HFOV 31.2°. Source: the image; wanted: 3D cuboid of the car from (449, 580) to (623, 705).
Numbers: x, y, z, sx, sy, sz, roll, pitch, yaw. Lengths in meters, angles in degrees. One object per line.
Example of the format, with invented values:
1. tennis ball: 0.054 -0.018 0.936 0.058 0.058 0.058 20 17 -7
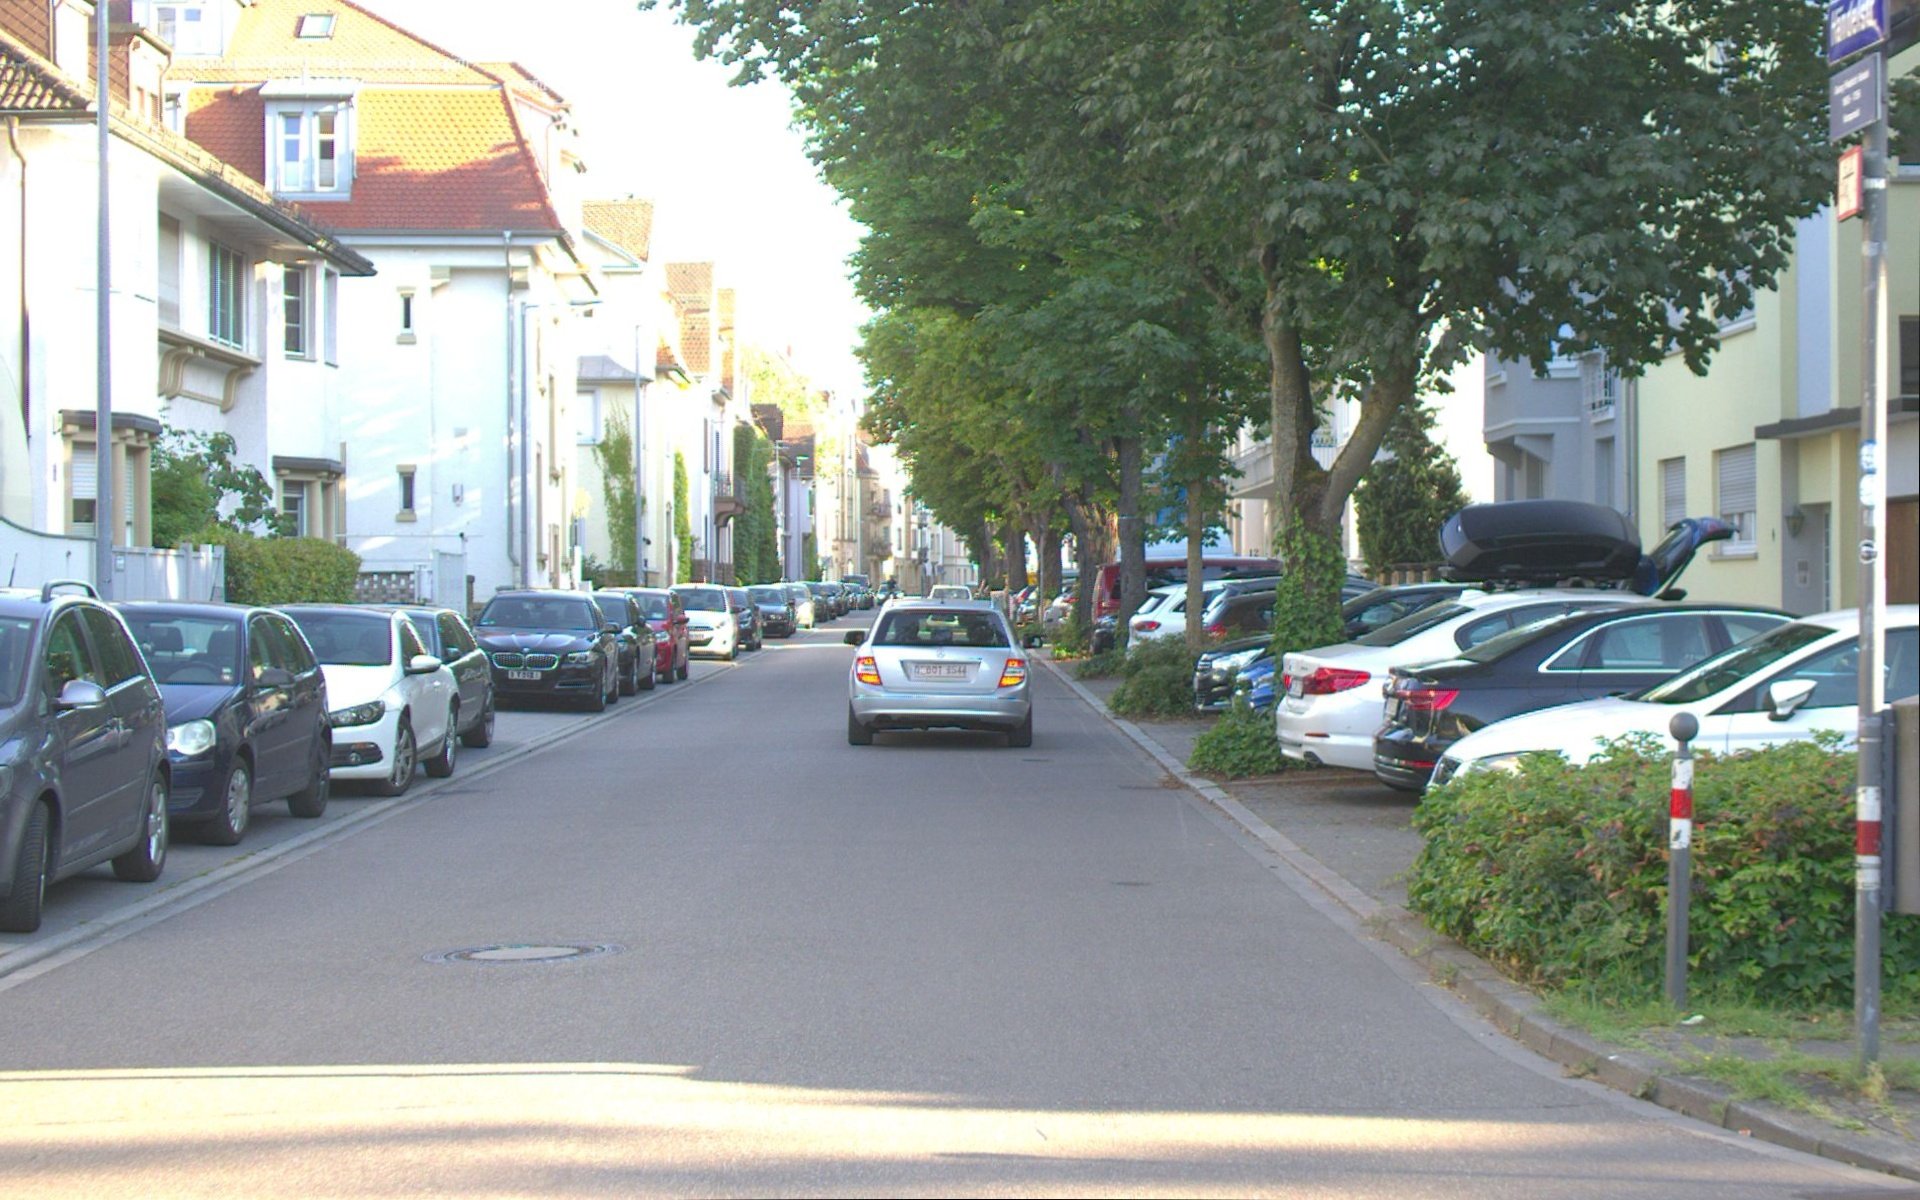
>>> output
1. car: -5.324 0.515 43.622 1.854 1.492 4.655 1 0 -3

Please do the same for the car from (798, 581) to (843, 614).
1. car: -6.043 -0.111 148.983 1.799 1.382 3.606 1 1 0

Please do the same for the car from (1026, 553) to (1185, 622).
1. car: 4.237 -0.376 100.753 4.518 2.007 2.251 0 1 -2

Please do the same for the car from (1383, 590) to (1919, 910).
1. car: 4.291 0.705 17.329 4.048 1.500 1.862 0 0 -1

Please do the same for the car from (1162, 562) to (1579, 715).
1. car: 4.330 0.402 36.708 4.190 1.553 1.874 0 0 -1

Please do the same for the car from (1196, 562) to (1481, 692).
1. car: 4.975 0.349 45.493 3.547 1.648 1.725 0 0 -1

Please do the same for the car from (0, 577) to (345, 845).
1. car: -5.225 0.653 22.369 1.884 1.585 4.091 0 0 -3

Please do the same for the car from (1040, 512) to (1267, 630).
1. car: 4.901 -0.737 87.626 5.541 2.958 2.472 0 0 -2

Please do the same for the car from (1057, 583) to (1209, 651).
1. car: 4.252 0.410 84.787 3.594 1.654 1.650 0 1 -2

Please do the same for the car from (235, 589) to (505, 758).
1. car: -5.368 0.639 31.770 1.758 1.442 4.142 1 0 0

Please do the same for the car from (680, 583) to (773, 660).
1. car: -5.150 0.503 76.168 1.799 1.639 3.857 1 -1 0

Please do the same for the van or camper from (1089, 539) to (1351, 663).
1. van or camper: 4.353 0.001 57.969 4.313 2.007 2.000 1 0 3

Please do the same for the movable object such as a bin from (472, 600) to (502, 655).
1. movable object such as a bin: -9.521 0.551 69.229 0.527 1.104 0.589 1 -1 0

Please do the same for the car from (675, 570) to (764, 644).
1. car: -5.547 0.146 79.709 1.799 1.639 3.857 1 1 0

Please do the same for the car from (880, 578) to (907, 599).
1. car: -4.589 -0.802 238.471 1.799 1.382 3.606 1 1 0

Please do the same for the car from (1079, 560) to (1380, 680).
1. car: 4.262 0.300 54.879 4.625 1.830 1.954 1 0 0

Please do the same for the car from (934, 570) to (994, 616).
1. car: 0.156 -0.219 114.945 1.817 1.468 4.216 0 -1 2

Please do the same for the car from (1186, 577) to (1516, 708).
1. car: 4.811 0.511 42.677 3.925 1.553 1.725 0 1 2

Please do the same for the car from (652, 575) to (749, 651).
1. car: -5.256 0.258 69.984 1.659 1.494 3.753 1 0 0

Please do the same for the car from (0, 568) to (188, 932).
1. car: -5.137 0.645 16.997 1.884 1.585 4.091 0 0 -3

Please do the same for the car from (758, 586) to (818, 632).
1. car: -5.679 0.287 114.021 1.799 1.477 3.857 1 1 0

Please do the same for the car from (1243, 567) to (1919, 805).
1. car: 4.445 0.580 24.860 4.476 1.520 1.954 -1 1 -6

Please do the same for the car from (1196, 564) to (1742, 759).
1. car: 4.443 0.525 30.488 4.526 1.635 1.874 0 0 -1

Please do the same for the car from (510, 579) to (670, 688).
1. car: -5.309 0.469 49.872 1.783 1.492 4.699 1 0 0

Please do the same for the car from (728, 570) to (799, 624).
1. car: -5.546 -0.104 97.572 1.799 1.477 3.857 1 1 0

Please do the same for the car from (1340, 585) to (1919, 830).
1. car: 4.635 0.657 22.149 4.142 1.443 1.673 -1 0 -1

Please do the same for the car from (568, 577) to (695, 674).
1. car: -5.250 0.403 55.334 1.659 1.483 3.753 1 0 0

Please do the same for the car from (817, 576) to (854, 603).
1. car: -6.446 -0.561 178.733 1.799 1.382 3.606 1 1 0

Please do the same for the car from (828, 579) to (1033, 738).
1. car: -0.227 0.563 34.016 1.817 1.468 4.216 0 -1 2

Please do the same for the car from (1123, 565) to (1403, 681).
1. car: 4.206 0.314 48.120 3.730 1.553 1.725 0 0 -1

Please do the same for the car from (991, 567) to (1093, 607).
1. car: 3.104 -0.508 130.698 3.844 1.477 1.805 0 1 1

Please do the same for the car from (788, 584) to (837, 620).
1. car: -5.882 0.063 137.658 1.799 1.382 3.606 1 1 0

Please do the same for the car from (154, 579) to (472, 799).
1. car: -4.967 0.640 26.893 1.884 1.585 4.091 0 0 -3

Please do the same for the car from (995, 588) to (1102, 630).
1. car: 3.209 0.334 124.528 3.844 1.477 1.805 0 1 1
